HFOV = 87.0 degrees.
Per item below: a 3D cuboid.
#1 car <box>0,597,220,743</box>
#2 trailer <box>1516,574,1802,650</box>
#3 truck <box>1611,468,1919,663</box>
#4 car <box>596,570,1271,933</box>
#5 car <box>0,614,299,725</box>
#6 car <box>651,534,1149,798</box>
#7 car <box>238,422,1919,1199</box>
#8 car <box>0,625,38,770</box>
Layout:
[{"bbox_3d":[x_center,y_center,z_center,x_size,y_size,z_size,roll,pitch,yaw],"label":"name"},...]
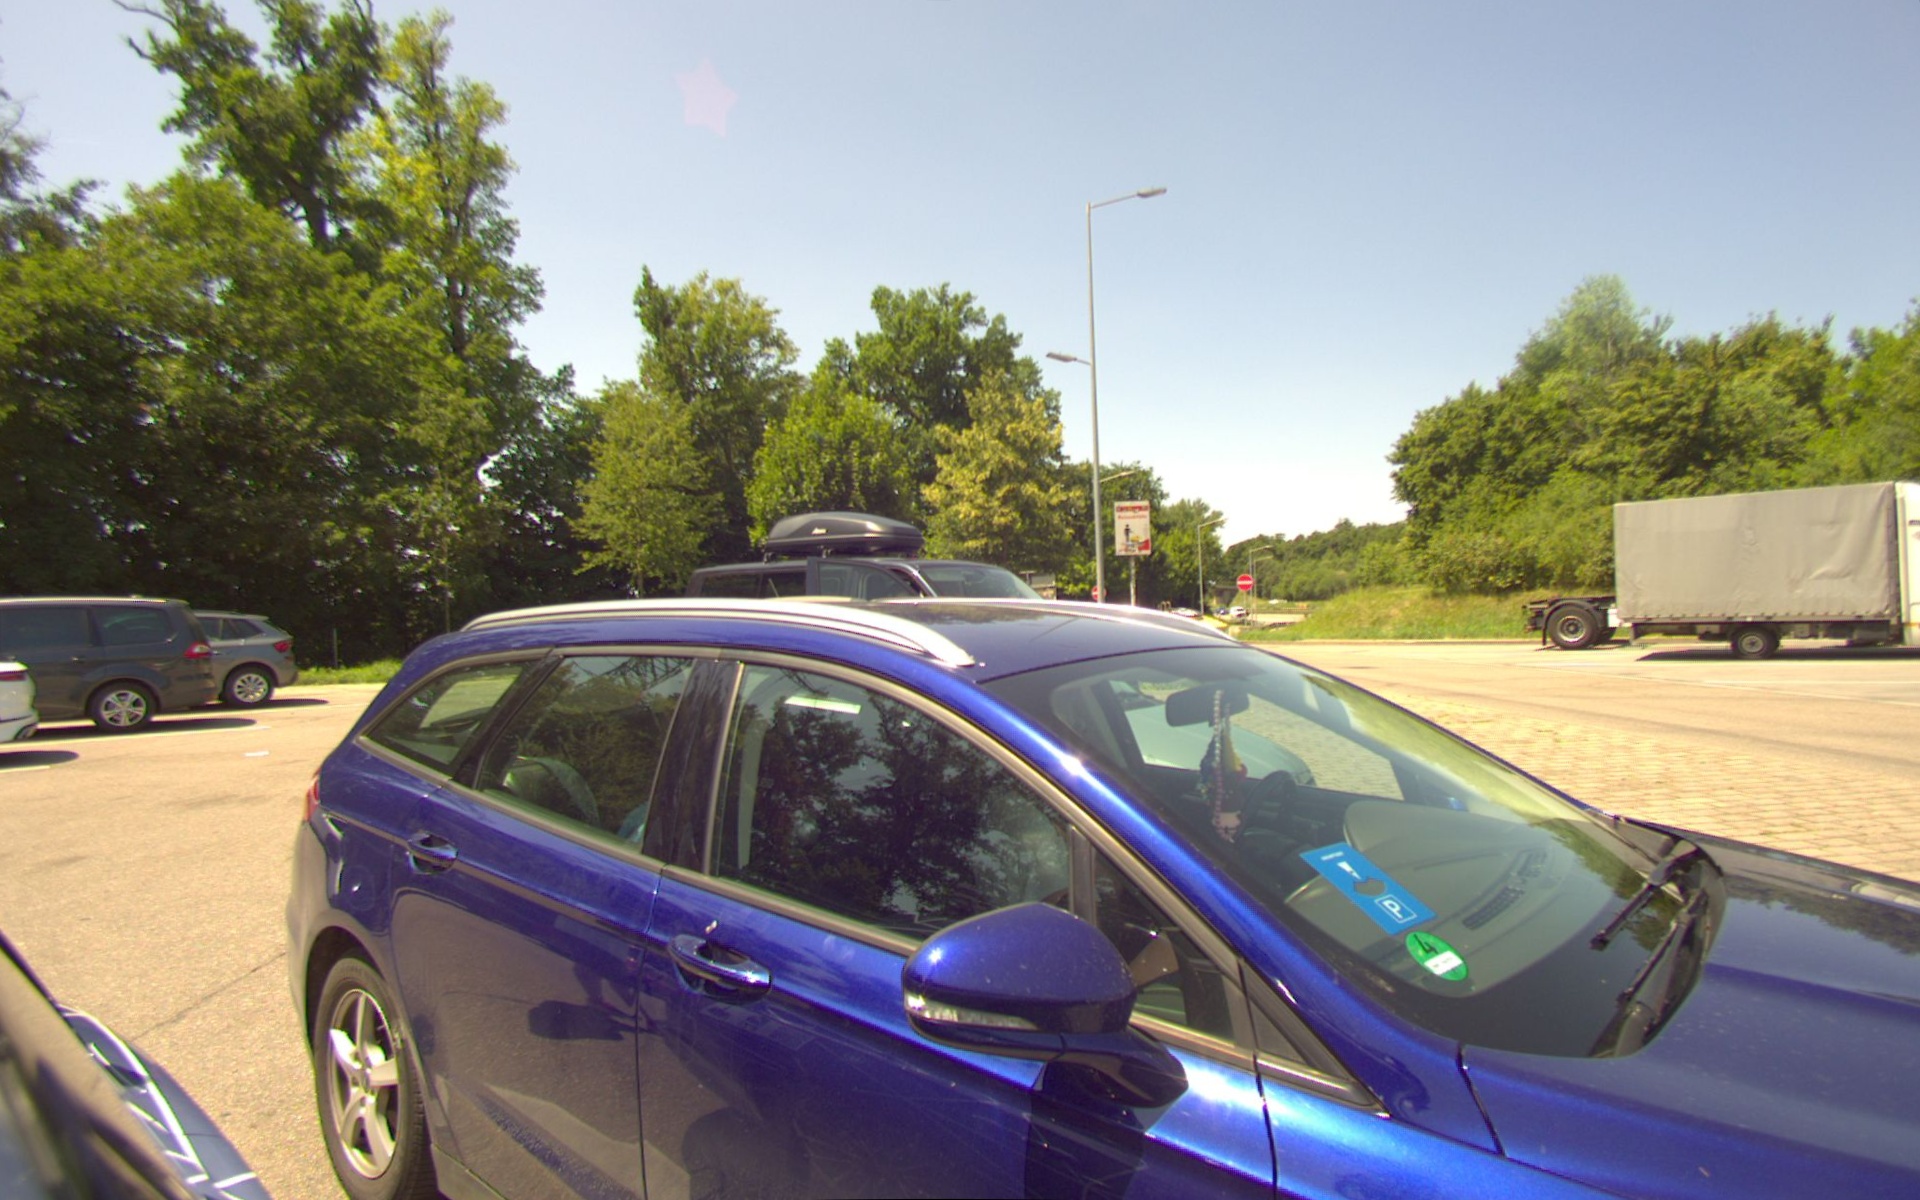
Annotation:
[{"bbox_3d":[-11.701,0.839,12.575,3.830,1.703,1.883,0,-2,-45],"label":"car"},{"bbox_3d":[16.342,0.344,23.908,5.393,1.608,1.576,-2,-1,41],"label":"trailer"},{"bbox_3d":[16.722,-0.621,18.835,7.308,3.258,2.294,-5,-2,43],"label":"truck"},{"bbox_3d":[-0.352,0.651,5.795,3.739,1.424,1.587,-2,-1,40],"label":"car"},{"bbox_3d":[-12.584,0.976,15.601,3.753,1.488,1.743,0,-1,-45],"label":"car"},{"bbox_3d":[-0.720,0.534,9.406,4.426,1.875,2.022,-2,-1,40],"label":"car"},{"bbox_3d":[0.252,0.651,2.073,4.427,1.455,1.763,-2,-1,40],"label":"car"},{"bbox_3d":[-10.947,0.946,9.186,3.753,1.377,1.804,0,-1,-45],"label":"car"}]
